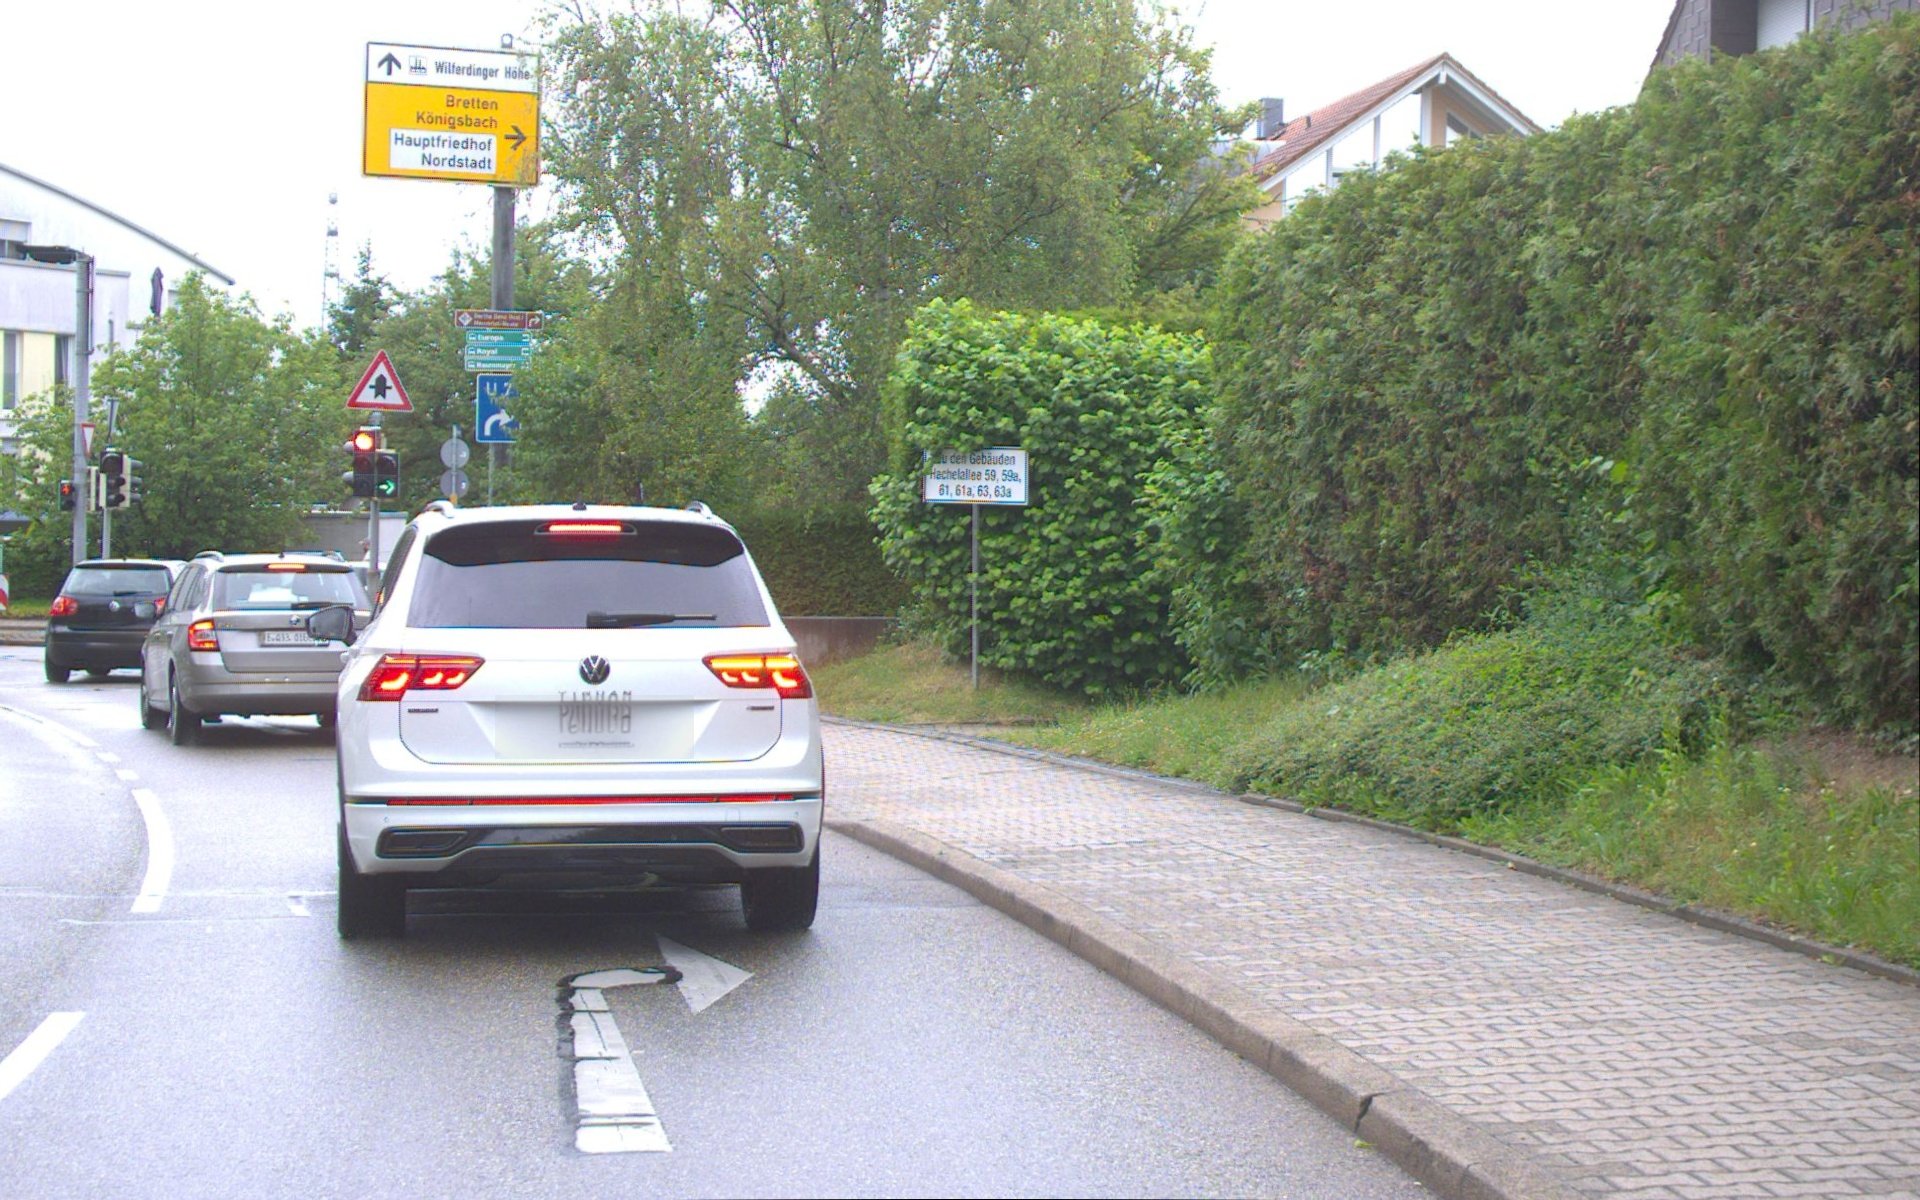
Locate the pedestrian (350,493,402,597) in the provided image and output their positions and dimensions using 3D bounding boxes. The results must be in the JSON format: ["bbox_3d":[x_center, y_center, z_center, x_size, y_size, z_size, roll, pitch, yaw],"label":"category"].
[{"bbox_3d":[-11.534,-1.093,67.889,0.799,2.006,0.850,-2,4,-22],"label":"pedestrian"}]

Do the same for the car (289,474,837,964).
[{"bbox_3d":[-1.644,0.375,14.264,1.920,1.716,4.266,0,1,-7],"label":"car"}]

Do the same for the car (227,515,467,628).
[{"bbox_3d":[-11.255,-0.524,63.047,3.985,1.752,2.001,3,3,-19],"label":"car"}]

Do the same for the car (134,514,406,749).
[{"bbox_3d":[-5.588,0.193,27.491,1.764,1.504,4.002,3,3,-16],"label":"car"}]

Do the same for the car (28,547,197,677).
[{"bbox_3d":[-10.158,0.105,41.027,1.850,1.424,4.001,0,2,-15],"label":"car"}]
